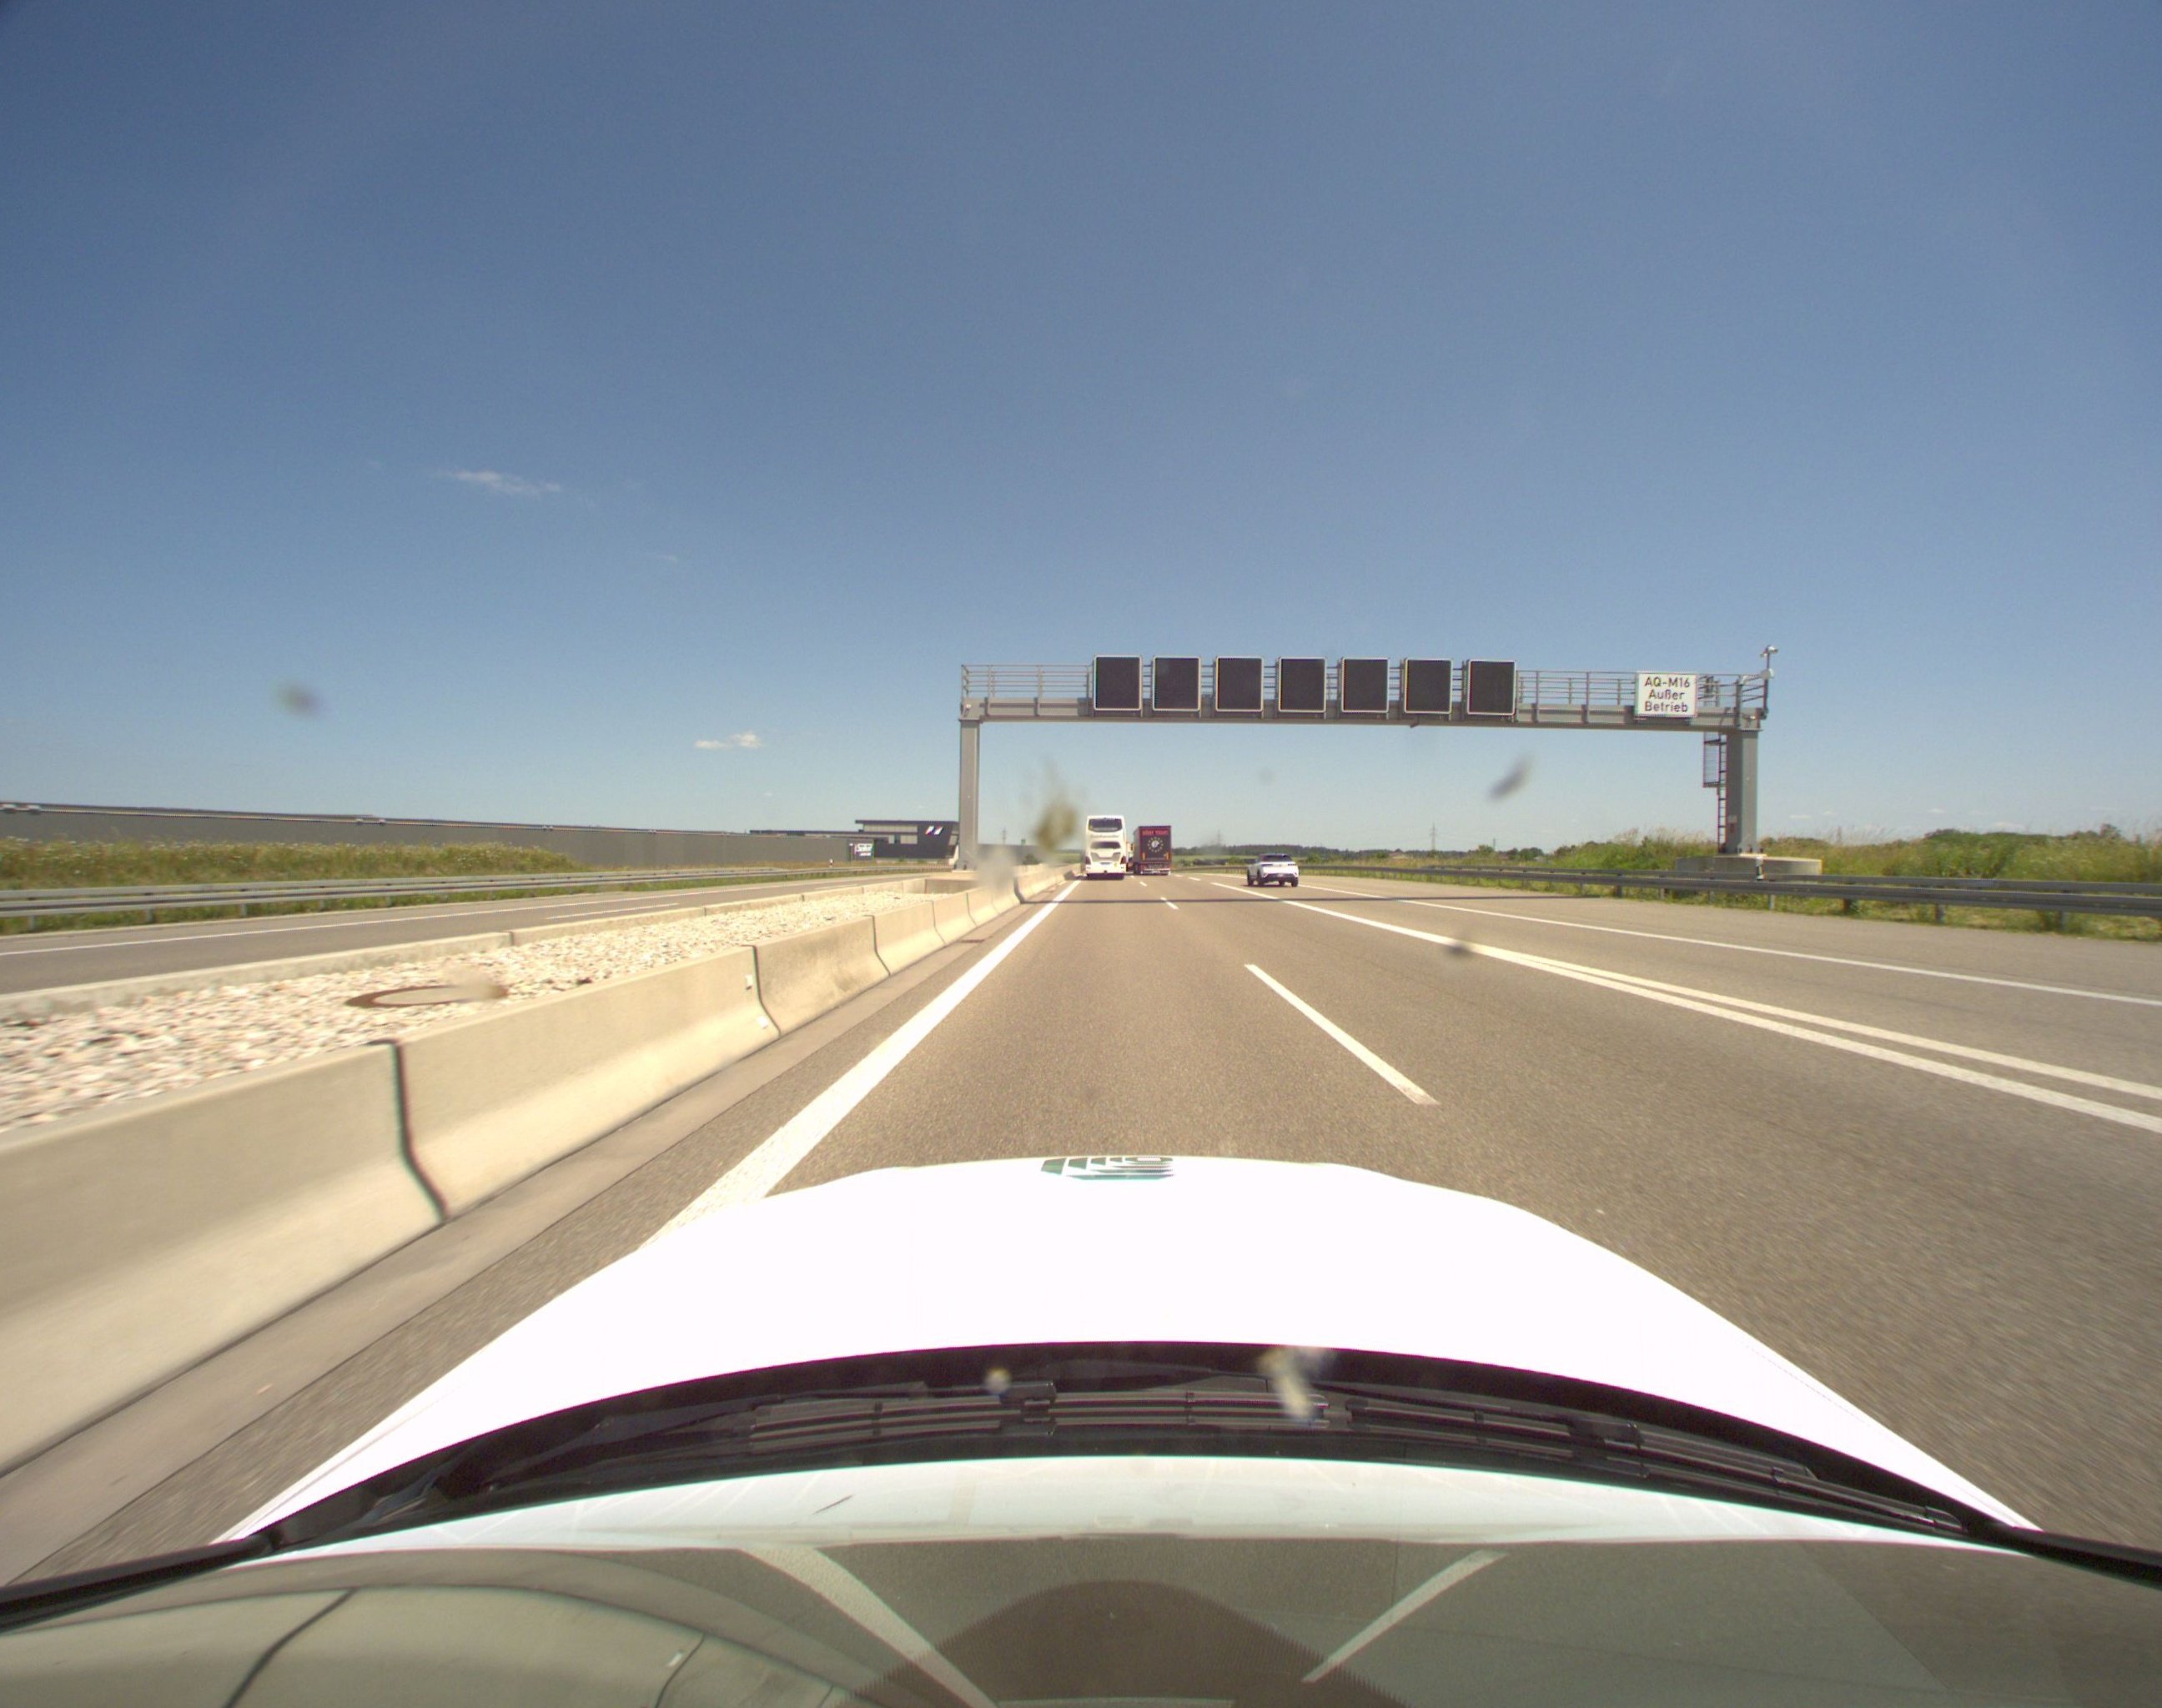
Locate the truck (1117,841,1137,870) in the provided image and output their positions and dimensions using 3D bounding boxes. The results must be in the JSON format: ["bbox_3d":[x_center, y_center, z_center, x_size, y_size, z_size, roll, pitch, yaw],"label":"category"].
[{"bbox_3d":[6.318,0.162,111.603,2.429,3.789,6.494,0,0,1],"label":"truck"}]

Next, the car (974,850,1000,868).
[{"bbox_3d":[-10.859,0.609,94.353,2.139,2.013,5.385,0,0,2],"label":"car"}]

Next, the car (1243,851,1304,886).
[{"bbox_3d":[8.965,0.629,38.258,1.885,1.529,4.261,0,0,0],"label":"car"}]

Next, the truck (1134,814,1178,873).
[{"bbox_3d":[6.327,-0.666,70.663,3.365,4.464,13.577,0,-2,3],"label":"truck"}]

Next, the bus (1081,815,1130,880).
[{"bbox_3d":[1.529,-0.481,54.516,2.970,3.974,9.105,0,1,0],"label":"bus"}]
